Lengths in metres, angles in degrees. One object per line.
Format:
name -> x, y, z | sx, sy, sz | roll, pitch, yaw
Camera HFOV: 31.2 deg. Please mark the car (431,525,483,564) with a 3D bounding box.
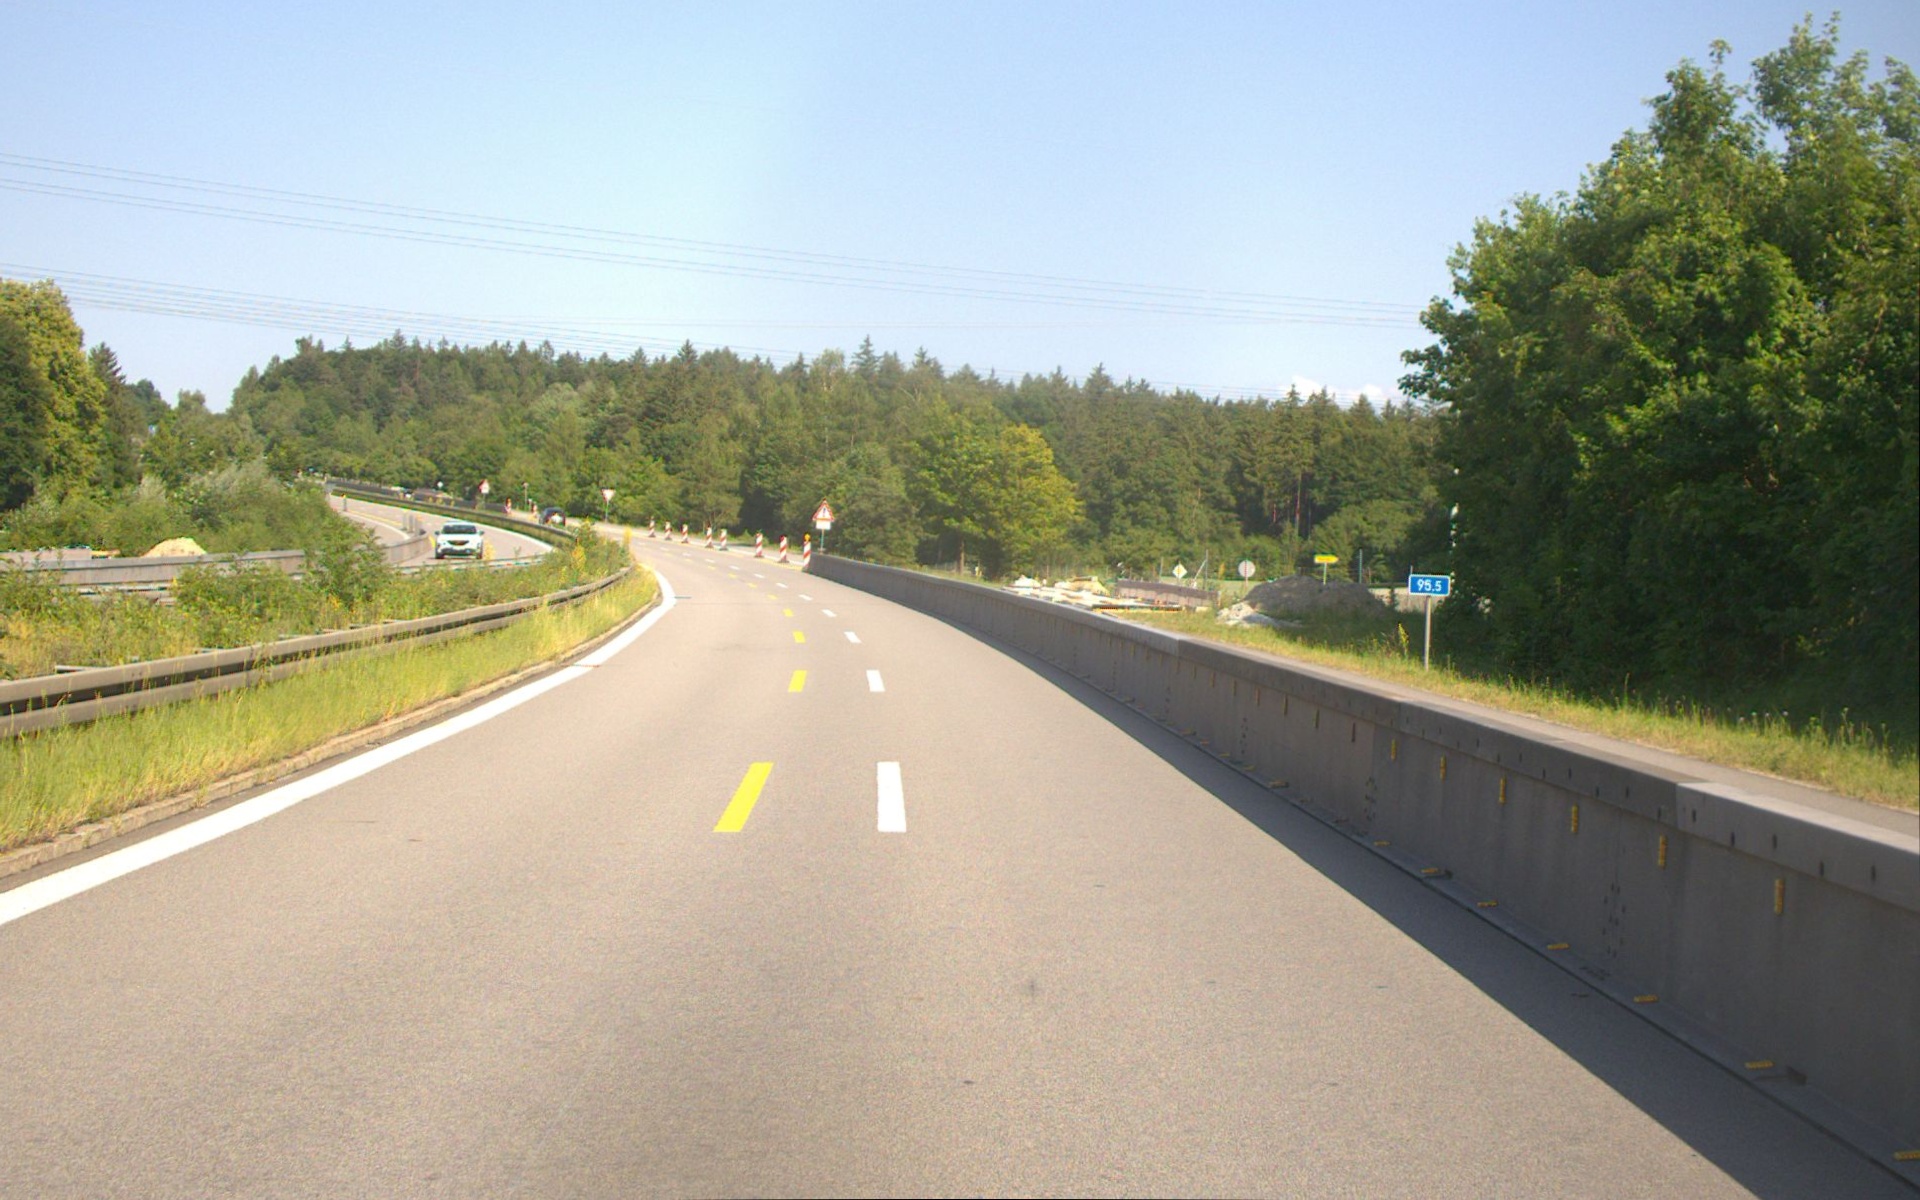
car -> -20.306, -2.228, 139.001 | 1.759, 1.506, 4.535 | 1, 1, -4
